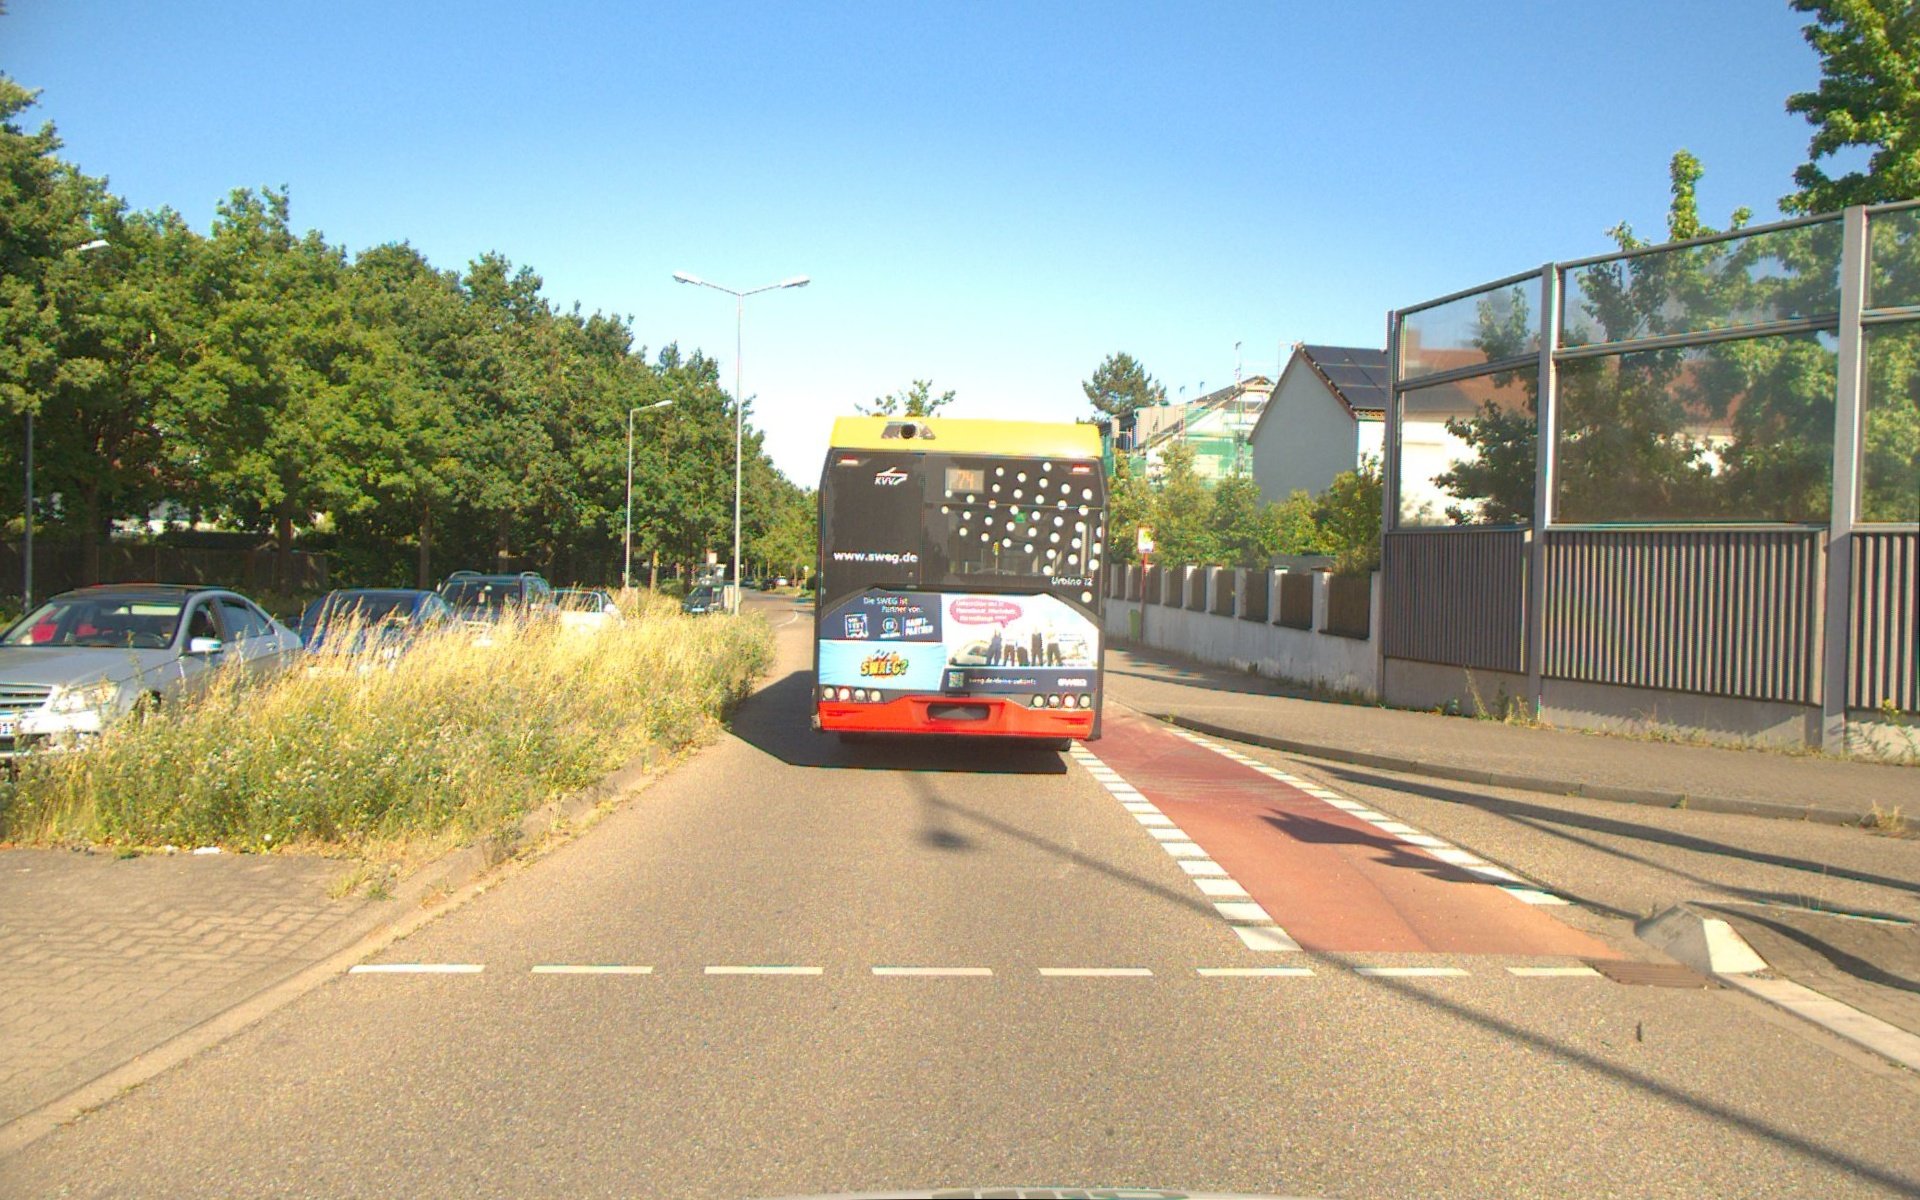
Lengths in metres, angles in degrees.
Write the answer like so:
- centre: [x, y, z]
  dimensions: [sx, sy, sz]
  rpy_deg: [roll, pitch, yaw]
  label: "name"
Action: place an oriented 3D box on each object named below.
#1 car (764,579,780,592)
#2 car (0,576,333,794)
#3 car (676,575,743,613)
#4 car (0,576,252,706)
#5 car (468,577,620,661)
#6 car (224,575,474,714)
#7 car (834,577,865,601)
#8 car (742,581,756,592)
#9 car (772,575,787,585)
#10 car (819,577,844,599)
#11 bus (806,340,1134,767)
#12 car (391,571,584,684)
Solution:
- centre: [-24.062, -1.885, 211.424]
  dimensions: [1.897, 1.569, 3.993]
  rpy_deg: [1, 0, -8]
  label: "car"
- centre: [-7.069, 0.582, 14.172]
  dimensions: [1.757, 1.532, 4.529]
  rpy_deg: [1, 1, -2]
  label: "car"
- centre: [-9.947, -0.262, 66.030]
  dimensions: [1.673, 1.456, 4.003]
  rpy_deg: [0, 1, 6]
  label: "car"
- centre: [-10.726, 0.460, 21.389]
  dimensions: [1.612, 1.509, 3.712]
  rpy_deg: [1, 1, -2]
  label: "car"
- centre: [-7.889, 0.363, 31.772]
  dimensions: [1.953, 1.476, 4.397]
  rpy_deg: [1, -1, -2]
  label: "car"
- centre: [-7.352, 0.462, 20.310]
  dimensions: [1.711, 1.509, 3.887]
  rpy_deg: [1, 1, -2]
  label: "car"
- centre: [-8.141, -0.810, 121.372]
  dimensions: [1.899, 1.733, 3.993]
  rpy_deg: [1, 0, -8]
  label: "car"
- centre: [-30.204, -1.981, 236.747]
  dimensions: [1.898, 1.479, 3.992]
  rpy_deg: [1, 1, -9]
  label: "car"
- centre: [-25.952, -2.860, 237.378]
  dimensions: [1.898, 1.479, 3.992]
  rpy_deg: [1, 1, -9]
  label: "car"
- centre: [-11.131, -1.040, 143.458]
  dimensions: [1.897, 1.772, 3.993]
  rpy_deg: [1, 0, -8]
  label: "car"
- centre: [-0.031, -0.390, 19.938]
  dimensions: [2.701, 3.519, 12.395]
  rpy_deg: [0, 0, -1]
  label: "bus"
- centre: [-7.488, 0.371, 26.695]
  dimensions: [1.953, 1.644, 4.528]
  rpy_deg: [1, 1, -2]
  label: "car"
